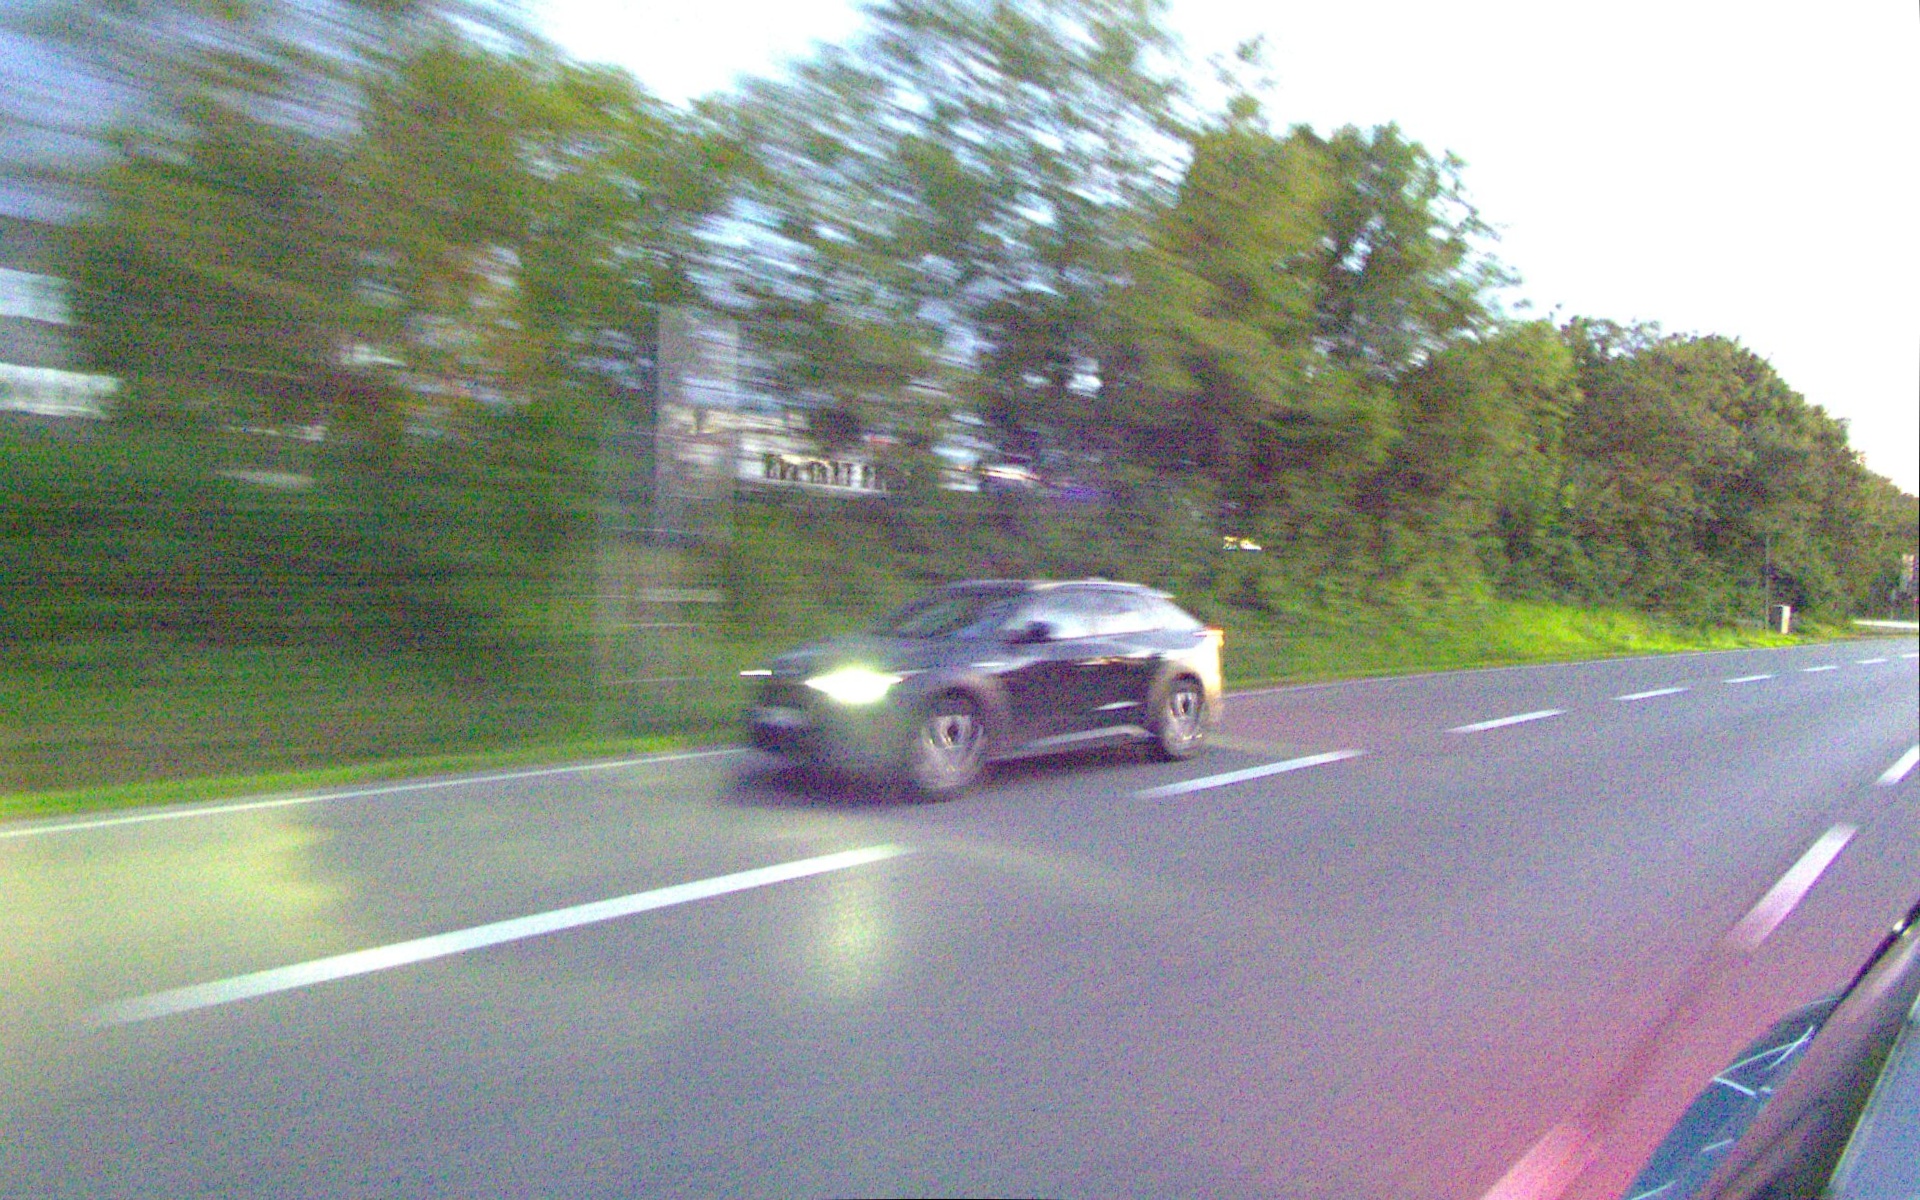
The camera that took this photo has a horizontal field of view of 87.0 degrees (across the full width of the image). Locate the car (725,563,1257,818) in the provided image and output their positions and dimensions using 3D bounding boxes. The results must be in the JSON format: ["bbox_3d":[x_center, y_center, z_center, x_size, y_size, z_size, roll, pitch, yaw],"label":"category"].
[{"bbox_3d":[0.462,0.570,8.739,4.476,1.640,1.905,0,1,-41],"label":"car"}]
